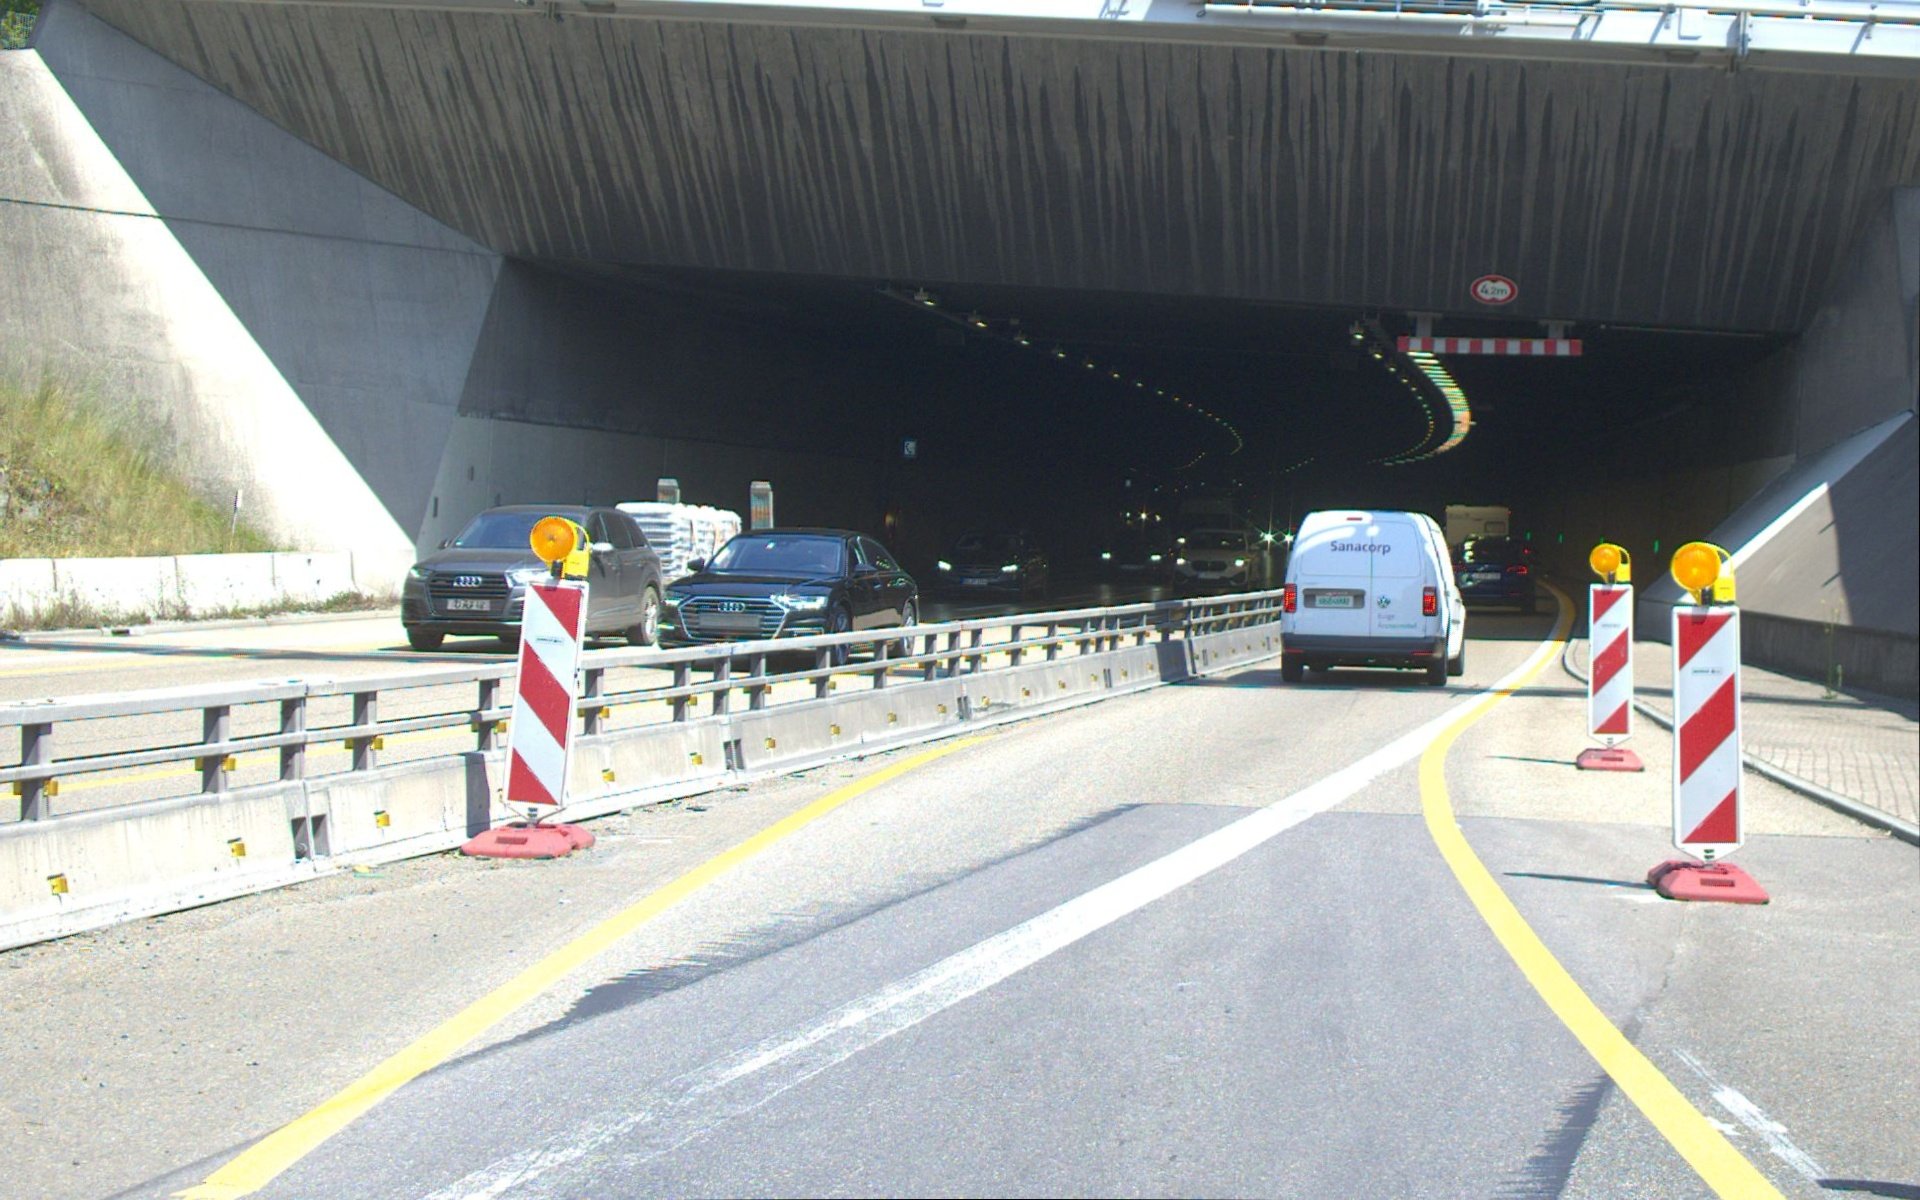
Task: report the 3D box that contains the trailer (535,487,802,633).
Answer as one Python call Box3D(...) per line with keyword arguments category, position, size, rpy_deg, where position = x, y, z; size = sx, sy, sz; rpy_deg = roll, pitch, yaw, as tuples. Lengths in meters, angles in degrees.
Box3D(category="trailer", position=(-3.807, -0.568, 46.044), size=(1.947, 1.799, 5.520), rpy_deg=(1, 1, 13))

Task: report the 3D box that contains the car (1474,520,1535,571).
Box3D(category="car", position=(16.904, -1.701, 106.839), size=(1.599, 1.541, 3.677), rpy_deg=(2, 1, 5))

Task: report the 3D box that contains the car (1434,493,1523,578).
Box3D(category="car", position=(19.218, -2.350, 127.675), size=(2.815, 2.764, 7.099), rpy_deg=(5, 0, 7))

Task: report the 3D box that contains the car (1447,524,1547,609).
Box3D(category="car", position=(10.706, -0.674, 68.712), size=(1.809, 1.532, 4.408), rpy_deg=(4, 1, 8))

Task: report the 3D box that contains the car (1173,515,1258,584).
Box3D(category="car", position=(6.133, -1.231, 82.181), size=(1.774, 1.572, 4.445), rpy_deg=(1, 1, 7))

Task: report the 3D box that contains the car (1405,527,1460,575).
Box3D(category="car", position=(22.454, -2.350, 163.543), size=(2.035, 2.014, 4.631), rpy_deg=(6, 2, 3))

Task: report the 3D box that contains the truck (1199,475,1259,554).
Box3D(category="truck", position=(13.778, -4.364, 175.769), size=(2.811, 3.902, 6.454), rpy_deg=(2, 1, 5))

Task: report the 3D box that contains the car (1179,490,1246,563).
Box3D(category="car", position=(9.000, -2.611, 122.123), size=(1.994, 2.506, 6.040), rpy_deg=(1, 1, 7))

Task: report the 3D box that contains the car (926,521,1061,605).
Box3D(category="car", position=(0.741, -0.791, 71.488), size=(1.774, 1.661, 4.804), rpy_deg=(1, 1, 13))

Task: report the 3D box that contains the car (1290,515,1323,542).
Box3D(category="car", position=(26.133, -5.393, 259.497), size=(2.073, 2.014, 4.662), rpy_deg=(1, 1, 1))

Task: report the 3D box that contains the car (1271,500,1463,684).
Box3D(category="car", position=(4.459, -0.100, 37.276), size=(1.809, 1.788, 3.729), rpy_deg=(4, 1, 9))

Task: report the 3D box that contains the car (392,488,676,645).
Box3D(category="car", position=(-4.982, -0.425, 40.947), size=(1.774, 1.721, 4.865), rpy_deg=(1, 1, 13))

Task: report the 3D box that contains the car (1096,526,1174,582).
Box3D(category="car", position=(4.974, -1.327, 97.329), size=(1.774, 1.510, 4.563), rpy_deg=(1, 1, 8))

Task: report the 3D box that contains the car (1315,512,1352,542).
Box3D(category="car", position=(25.927, -5.082, 238.617), size=(2.073, 2.014, 4.662), rpy_deg=(1, 1, 1))

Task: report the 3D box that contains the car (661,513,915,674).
Box3D(category="car", position=(-1.781, -0.125, 37.383), size=(1.774, 1.588, 4.984), rpy_deg=(1, 1, 9))

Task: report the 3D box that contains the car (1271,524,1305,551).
Box3D(category="car", position=(18.255, -3.489, 191.412), size=(1.821, 1.451, 4.092), rpy_deg=(2, 1, 5))
